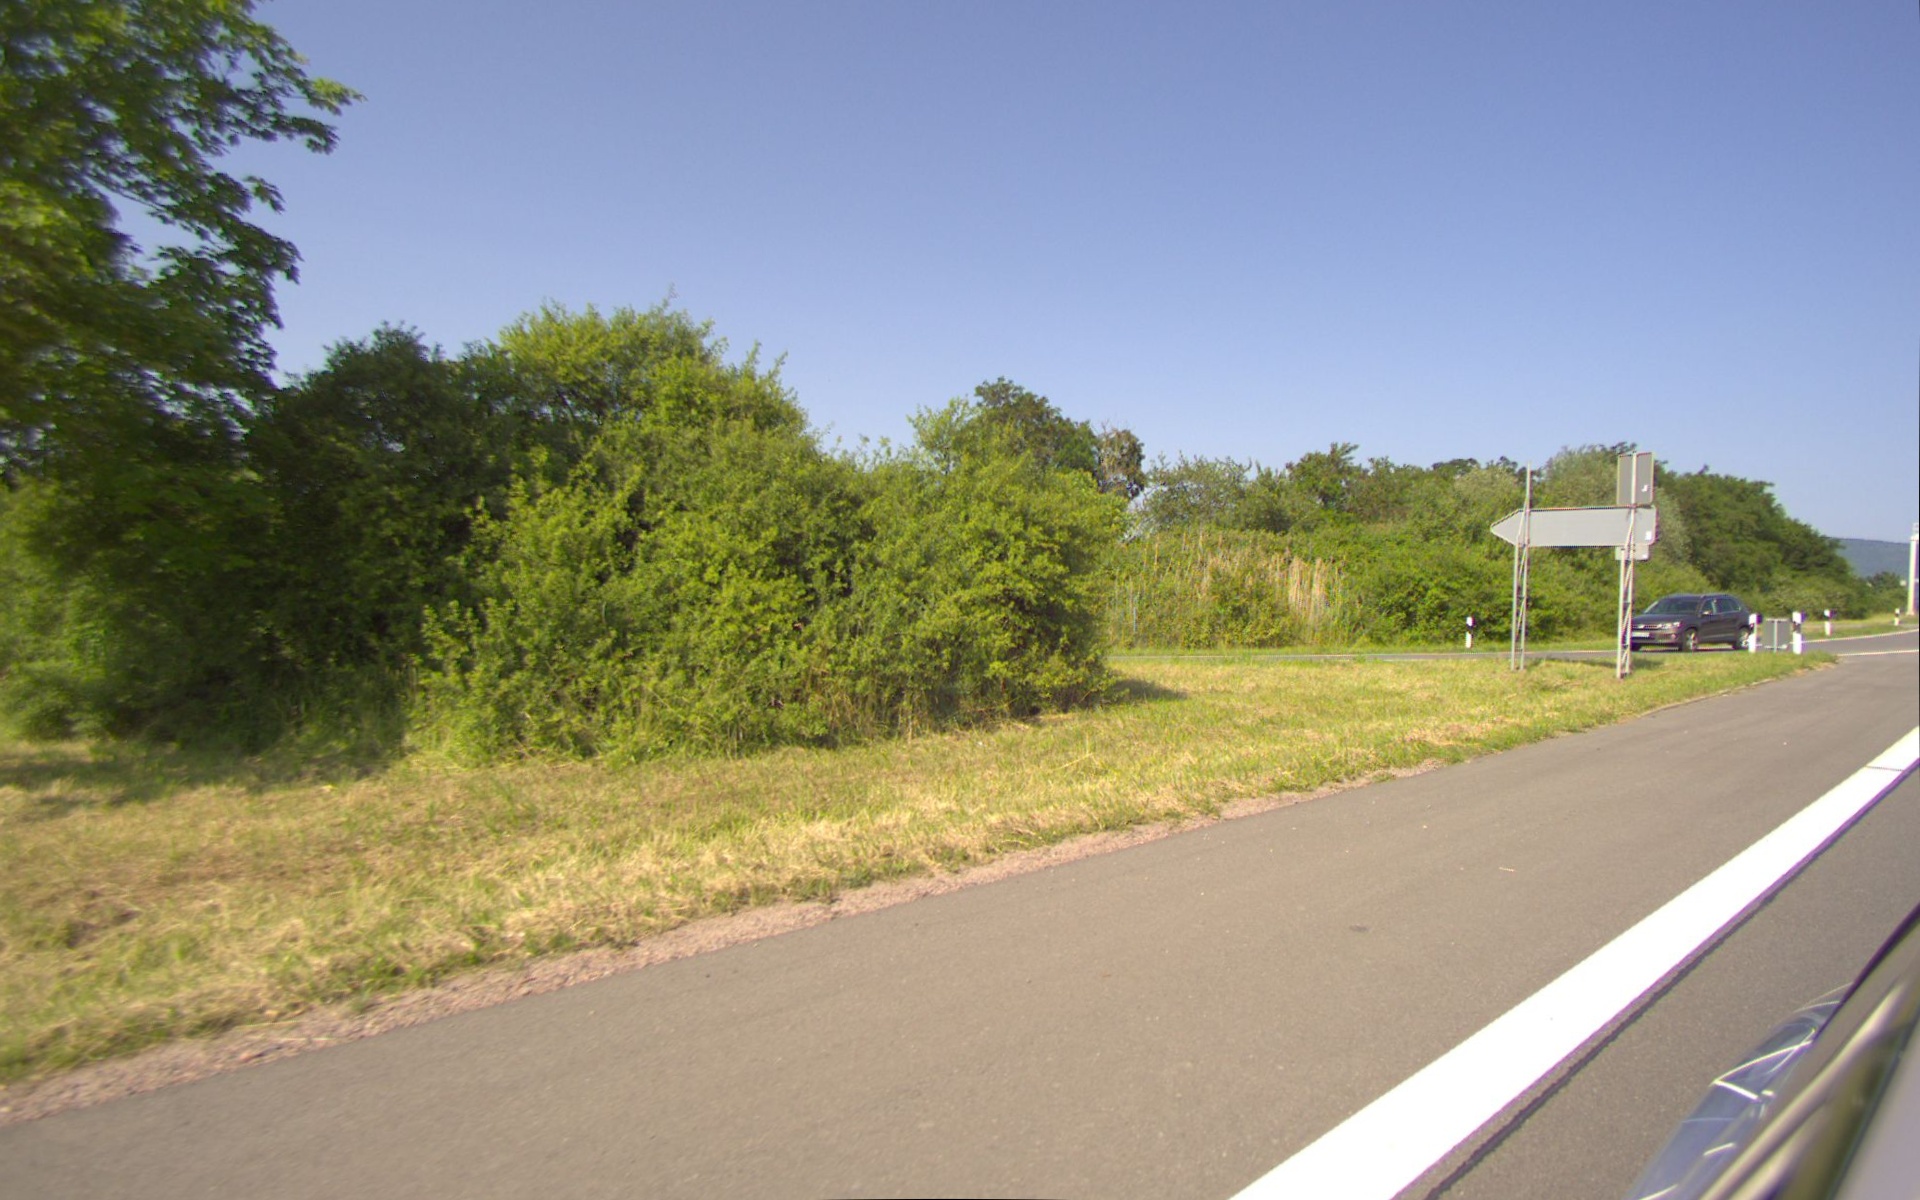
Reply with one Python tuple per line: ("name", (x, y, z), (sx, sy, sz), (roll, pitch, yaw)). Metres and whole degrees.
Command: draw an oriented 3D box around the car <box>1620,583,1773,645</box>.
("car", (21.379, 0.399, 29.381), (4.062, 1.668, 1.793), (-1, -2, -25))
